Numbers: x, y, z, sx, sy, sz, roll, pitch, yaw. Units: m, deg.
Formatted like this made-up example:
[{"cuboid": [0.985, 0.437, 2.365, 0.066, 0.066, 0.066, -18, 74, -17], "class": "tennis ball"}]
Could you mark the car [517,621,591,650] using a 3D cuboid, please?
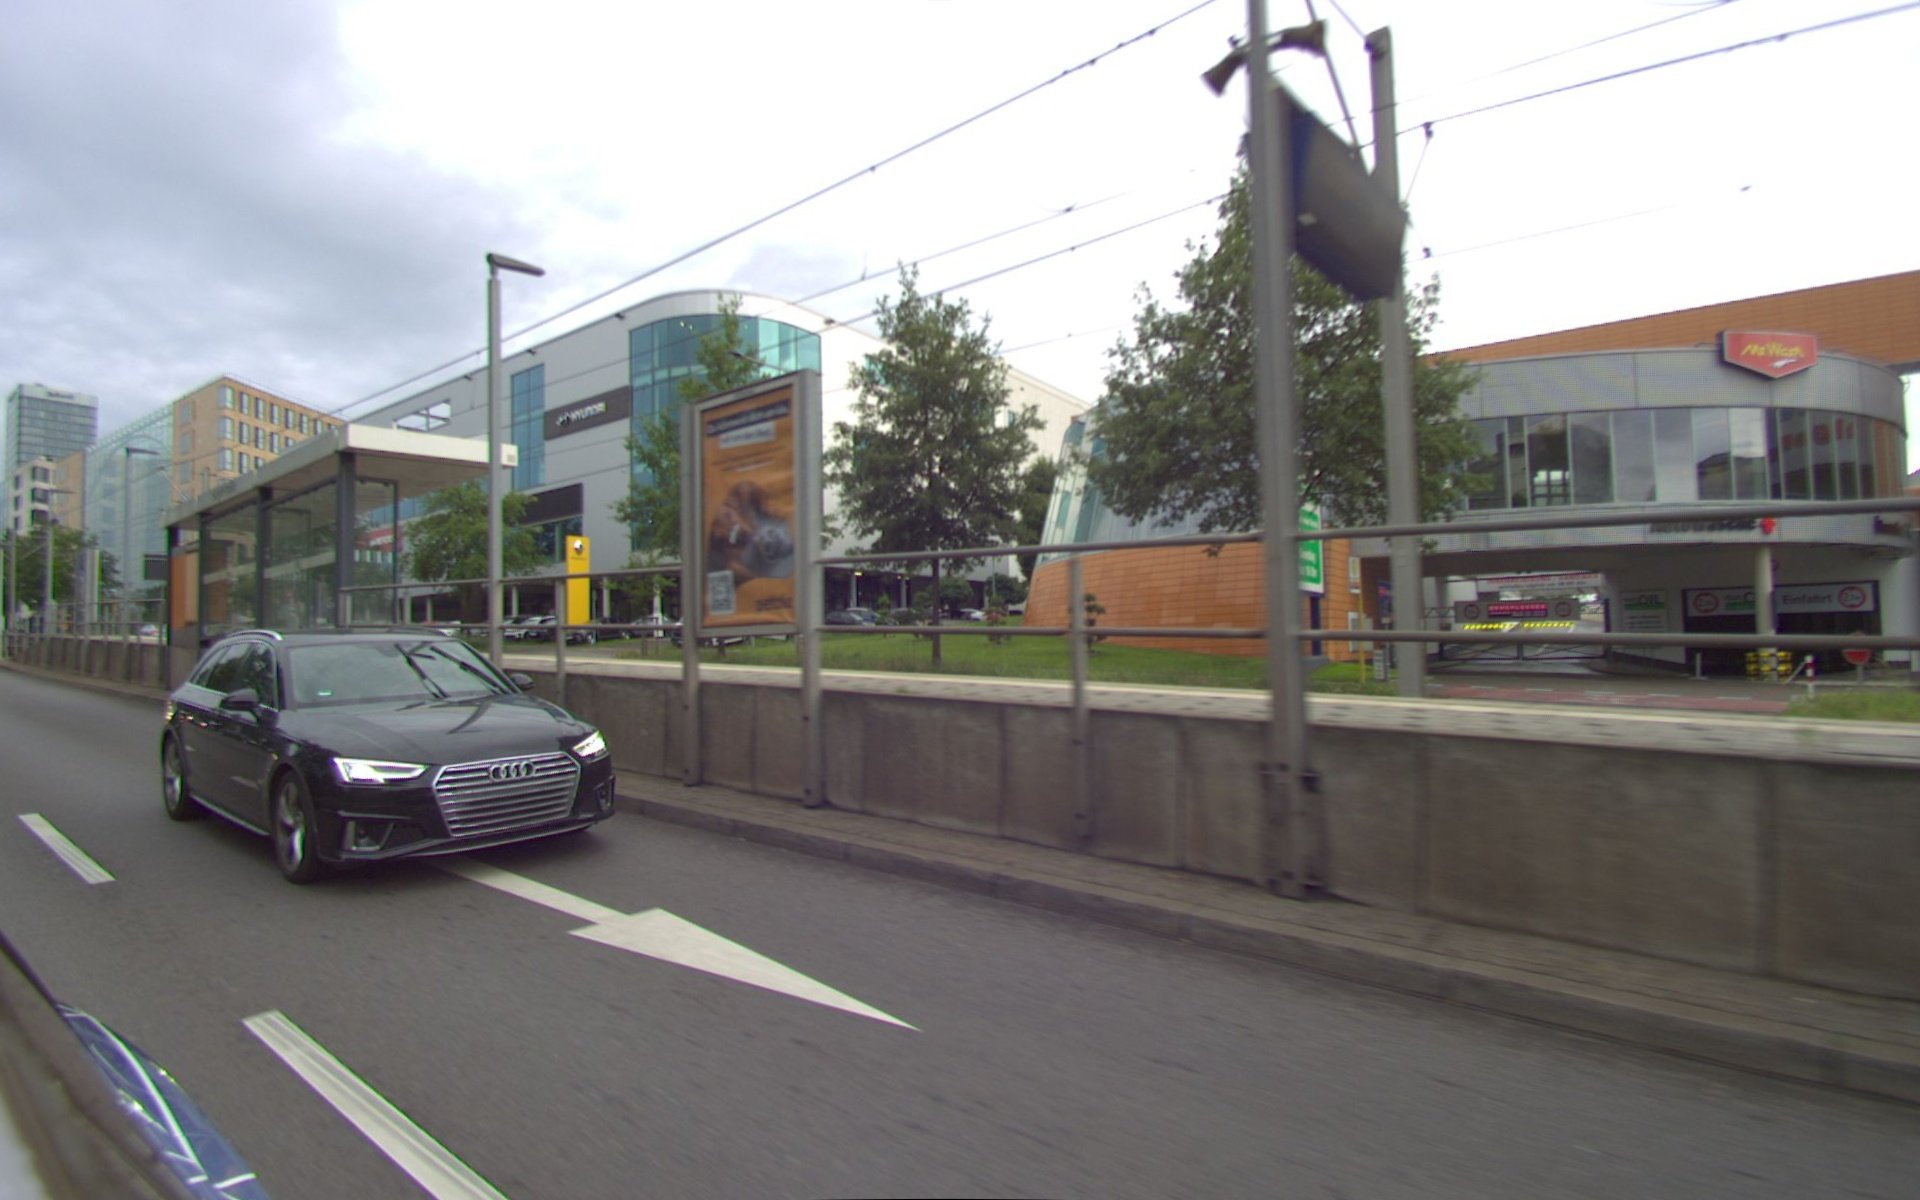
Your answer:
[{"cuboid": [-25.659, 2.232, 64.115, 1.917, 1.674, 3.955, -2, 0, 34], "class": "car"}]

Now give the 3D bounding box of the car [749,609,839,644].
[{"cuboid": [-9.962, 1.545, 61.091, 2.273, 1.941, 5.421, -1, 0, 34], "class": "car"}]

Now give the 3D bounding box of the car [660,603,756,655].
[{"cuboid": [-13.659, 1.520, 55.255, 2.264, 2.649, 5.442, -1, 0, 23], "class": "car"}]

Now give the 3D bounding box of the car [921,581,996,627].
[{"cuboid": [-0.075, 0.272, 74.676, 2.993, 3.296, 5.421, -1, 0, 34], "class": "car"}]

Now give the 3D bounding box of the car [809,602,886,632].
[{"cuboid": [-7.634, 1.160, 69.399, 2.273, 1.941, 5.421, -1, 0, 34], "class": "car"}]

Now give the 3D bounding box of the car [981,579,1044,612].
[{"cuboid": [4.334, -0.355, 82.347, 2.741, 2.513, 5.421, -1, 0, 34], "class": "car"}]

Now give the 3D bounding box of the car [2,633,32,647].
[{"cuboid": [-106.287, 4.486, 114.027, 4.870, 1.447, 1.973, -1, 0, 41], "class": "car"}]

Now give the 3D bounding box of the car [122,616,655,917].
[{"cuboid": [-4.281, 0.875, 7.162, 4.825, 1.445, 1.772, -2, -2, 41], "class": "car"}]

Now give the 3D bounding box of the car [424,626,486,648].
[{"cuboid": [-36.668, 2.698, 73.534, 1.811, 1.502, 3.814, -1, -1, 22], "class": "car"}]

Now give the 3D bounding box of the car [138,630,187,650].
[{"cuboid": [-59.092, 2.931, 74.932, 4.870, 1.399, 1.973, -1, 0, 41], "class": "car"}]

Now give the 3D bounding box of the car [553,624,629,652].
[{"cuboid": [-22.077, 2.234, 60.605, 1.891, 1.519, 3.956, -1, 0, 32], "class": "car"}]

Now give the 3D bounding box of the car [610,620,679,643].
[{"cuboid": [-20.760, 2.064, 66.673, 3.946, 1.480, 1.770, -1, -1, 2], "class": "car"}]

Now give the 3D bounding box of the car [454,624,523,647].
[{"cuboid": [-32.525, 2.453, 69.856, 1.819, 1.502, 3.954, -2, -1, 34], "class": "car"}]

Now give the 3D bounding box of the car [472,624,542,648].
[{"cuboid": [-30.201, 2.406, 67.556, 1.819, 1.502, 3.954, -2, -1, 34], "class": "car"}]

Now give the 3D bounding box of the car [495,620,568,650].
[{"cuboid": [-27.809, 2.265, 65.832, 1.917, 1.674, 3.955, -2, 1, 34], "class": "car"}]
